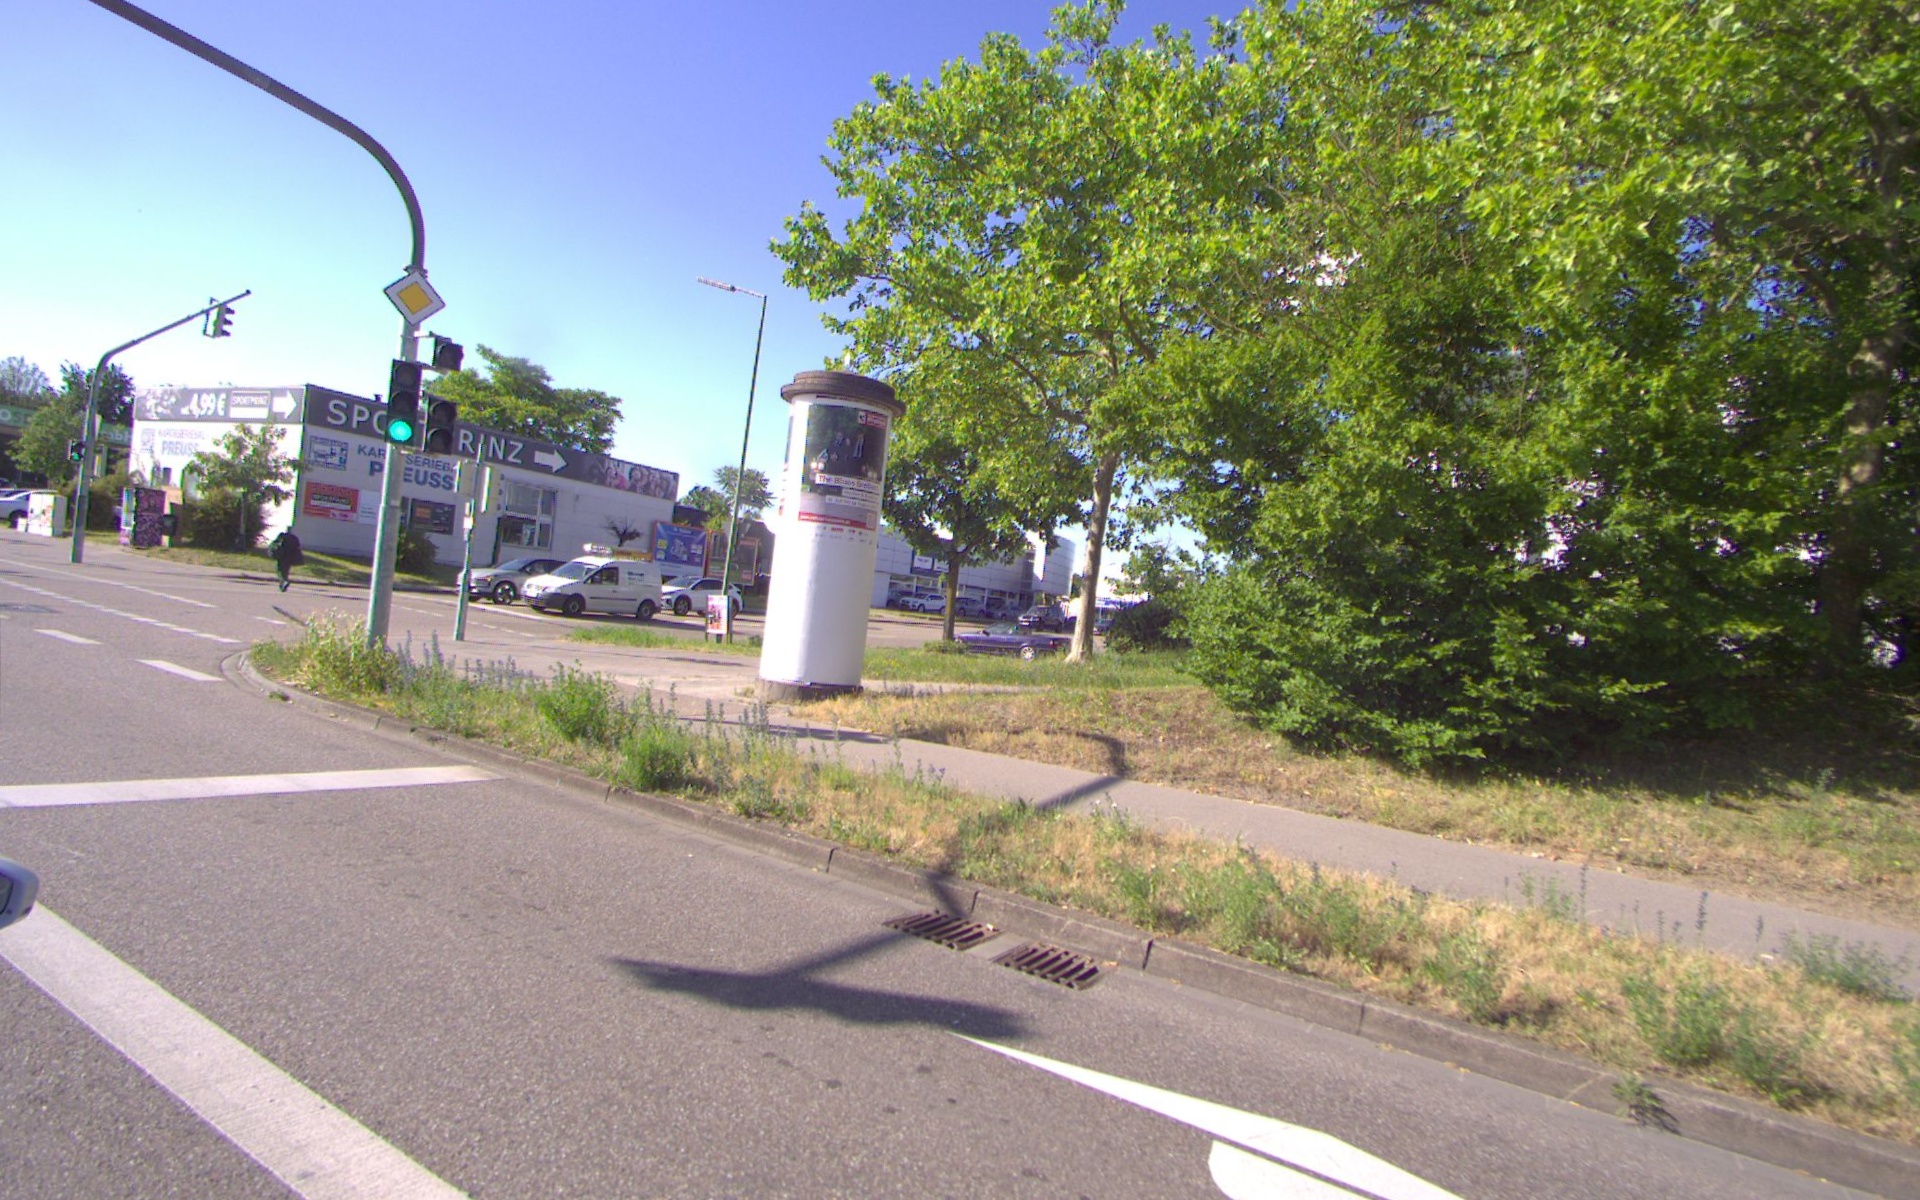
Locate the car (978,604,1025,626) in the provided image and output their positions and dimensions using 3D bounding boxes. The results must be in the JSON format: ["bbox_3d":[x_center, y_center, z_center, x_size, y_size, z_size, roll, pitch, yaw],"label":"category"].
[{"bbox_3d":[3.412,1.229,81.912,1.737,1.509,4.228,6,1,35],"label":"car"}]

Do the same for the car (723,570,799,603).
[{"bbox_3d":[-11.914,-0.821,60.151,4.495,1.509,1.758,6,1,36],"label":"car"}]

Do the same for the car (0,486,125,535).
[{"bbox_3d":[-36.505,-3.613,40.174,1.828,1.472,4.490,6,1,33],"label":"car"}]

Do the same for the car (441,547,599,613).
[{"bbox_3d":[-13.808,-0.585,31.811,1.735,1.568,4.293,8,1,30],"label":"car"}]

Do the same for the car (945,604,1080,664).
[{"bbox_3d":[1.726,1.118,33.330,3.983,1.509,1.780,6,1,27],"label":"car"}]

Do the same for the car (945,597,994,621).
[{"bbox_3d":[0.775,0.704,78.199,1.737,1.509,4.099,6,1,35],"label":"car"}]

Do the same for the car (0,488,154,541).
[{"bbox_3d":[-34.226,-3.291,38.815,1.828,1.472,4.490,6,1,33],"label":"car"}]

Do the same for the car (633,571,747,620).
[{"bbox_3d":[-10.182,-0.144,38.239,1.752,1.509,4.046,6,0,29],"label":"car"}]

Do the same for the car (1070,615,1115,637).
[{"bbox_3d":[10.782,2.142,81.421,1.736,1.509,4.552,6,1,33],"label":"car"}]

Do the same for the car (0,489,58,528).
[{"bbox_3d":[-42.244,-4.139,43.490,1.828,1.472,4.490,6,1,33],"label":"car"}]

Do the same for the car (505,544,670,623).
[{"bbox_3d":[-11.021,-0.434,30.078,1.735,1.824,4.388,8,1,30],"label":"car"}]

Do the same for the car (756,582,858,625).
[{"bbox_3d":[-6.664,0.173,44.220,1.736,1.509,4.552,6,1,33],"label":"car"}]

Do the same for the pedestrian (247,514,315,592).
[{"bbox_3d":[-16.874,-1.160,25.004,0.923,1.755,0.927,6,-2,31],"label":"pedestrian"}]

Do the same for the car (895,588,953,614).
[{"bbox_3d":[-2.628,0.115,73.910,1.737,1.509,4.549,6,1,35],"label":"car"}]

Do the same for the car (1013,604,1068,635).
[{"bbox_3d":[5.829,1.411,72.145,1.737,1.894,4.549,6,1,35],"label":"car"}]

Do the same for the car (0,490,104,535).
[{"bbox_3d":[-38.863,-3.735,41.907,1.828,1.472,4.490,6,1,33],"label":"car"}]
